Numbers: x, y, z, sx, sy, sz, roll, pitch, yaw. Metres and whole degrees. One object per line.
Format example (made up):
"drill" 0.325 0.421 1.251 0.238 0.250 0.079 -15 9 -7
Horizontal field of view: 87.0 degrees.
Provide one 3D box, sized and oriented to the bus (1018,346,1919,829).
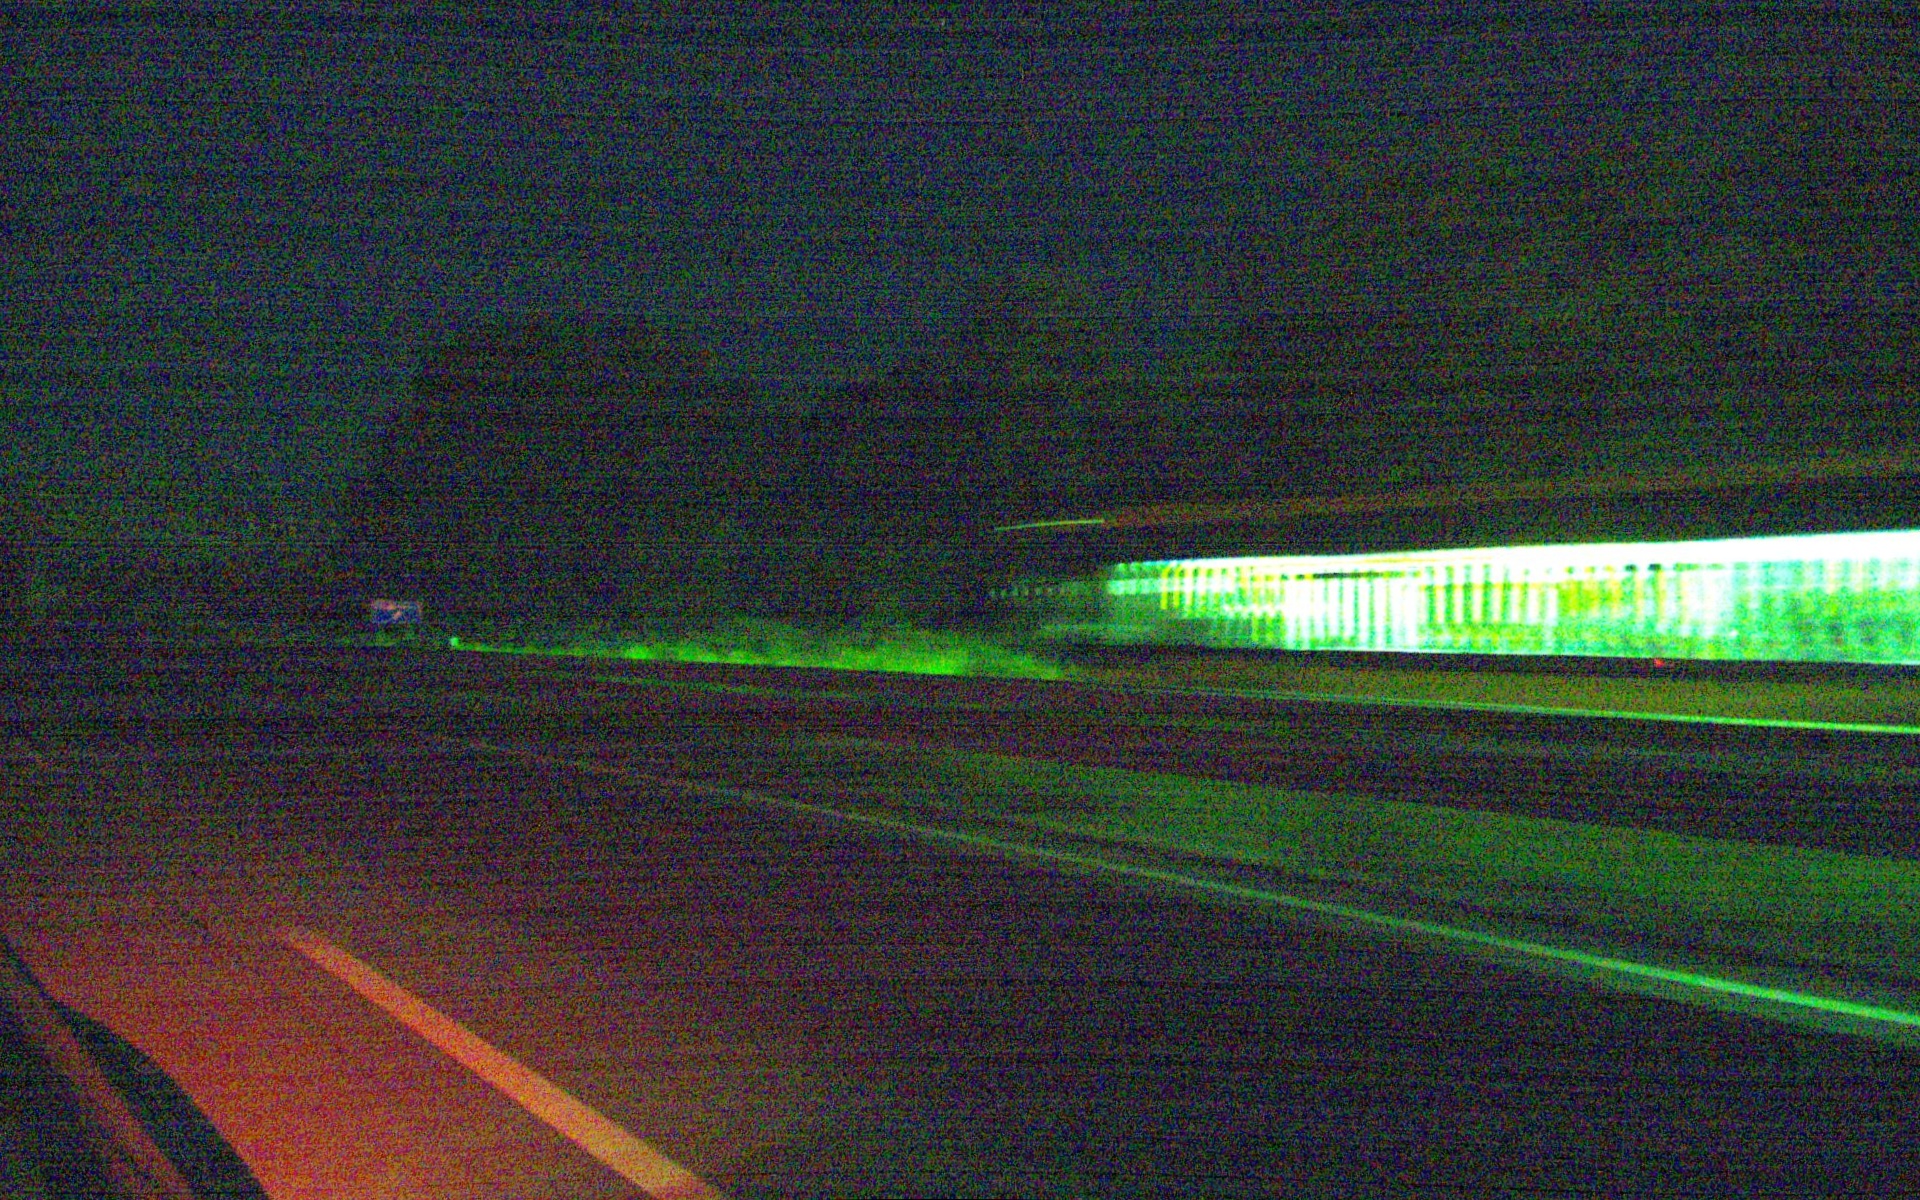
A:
"bus" 6.267 -0.027 9.551 12.303 3.413 2.892 -2 -2 42
